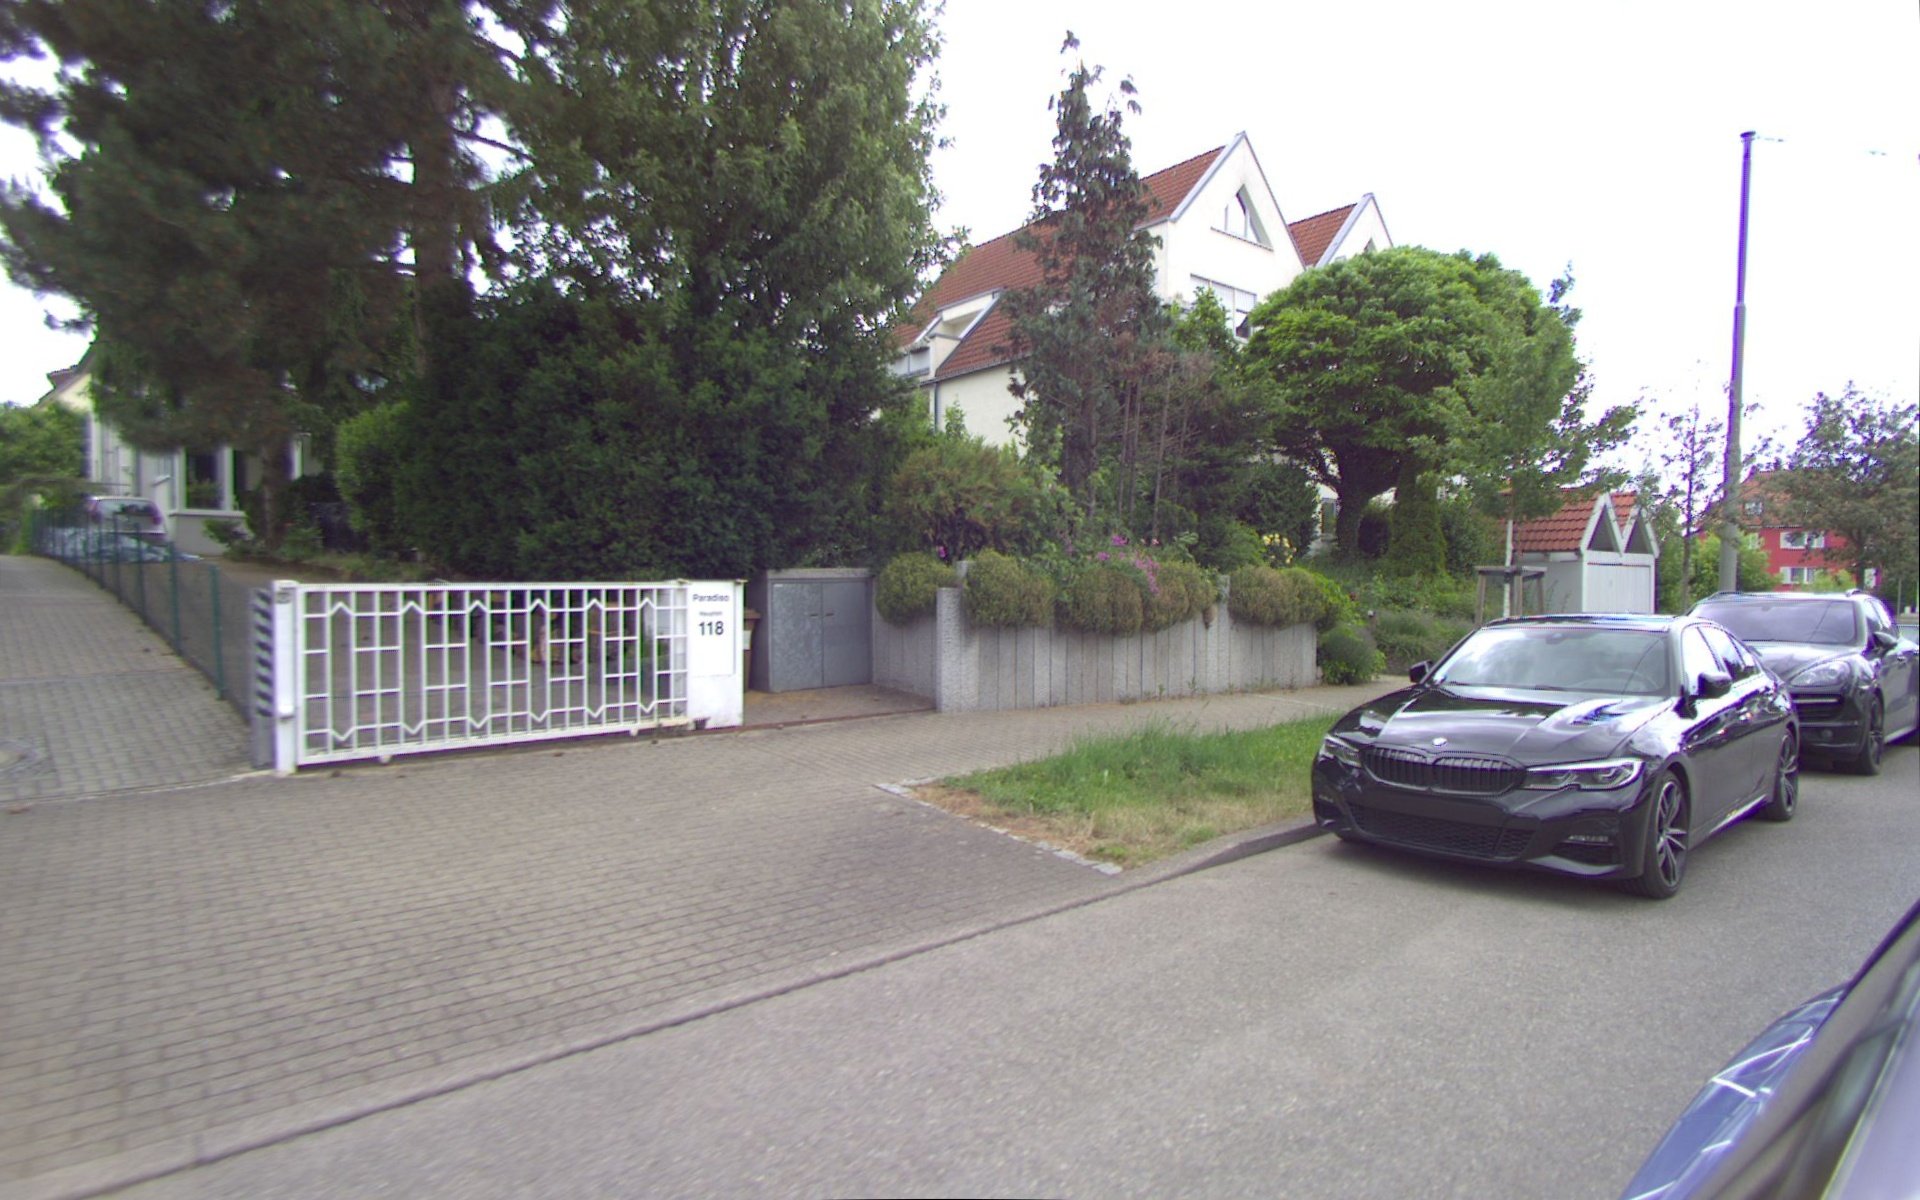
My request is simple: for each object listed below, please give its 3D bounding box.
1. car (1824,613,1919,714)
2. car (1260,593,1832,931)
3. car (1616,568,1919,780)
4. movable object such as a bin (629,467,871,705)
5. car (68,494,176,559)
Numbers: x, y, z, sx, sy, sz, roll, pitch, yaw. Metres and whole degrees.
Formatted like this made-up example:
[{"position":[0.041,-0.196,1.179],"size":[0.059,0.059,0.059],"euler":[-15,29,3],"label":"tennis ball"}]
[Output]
[{"position":[13.696,0.834,14.409],"size":[3.815,1.252,1.484],"euler":[0,-1,-40],"label":"car"},{"position":[4.019,0.707,6.583],"size":[4.470,1.475,1.833],"euler":[0,-1,-41],"label":"car"},{"position":[8.586,0.596,10.397],"size":[4.467,1.733,1.834],"euler":[0,0,-39],"label":"car"},{"position":[-2.118,-0.115,9.981],"size":[1.321,2.039,2.312],"euler":[0,-1,-44],"label":"movable object such as a bin"},{"position":[-21.327,-1.809,25.707],"size":[3.770,1.485,1.730],"euler":[3,2,44],"label":"car"}]
